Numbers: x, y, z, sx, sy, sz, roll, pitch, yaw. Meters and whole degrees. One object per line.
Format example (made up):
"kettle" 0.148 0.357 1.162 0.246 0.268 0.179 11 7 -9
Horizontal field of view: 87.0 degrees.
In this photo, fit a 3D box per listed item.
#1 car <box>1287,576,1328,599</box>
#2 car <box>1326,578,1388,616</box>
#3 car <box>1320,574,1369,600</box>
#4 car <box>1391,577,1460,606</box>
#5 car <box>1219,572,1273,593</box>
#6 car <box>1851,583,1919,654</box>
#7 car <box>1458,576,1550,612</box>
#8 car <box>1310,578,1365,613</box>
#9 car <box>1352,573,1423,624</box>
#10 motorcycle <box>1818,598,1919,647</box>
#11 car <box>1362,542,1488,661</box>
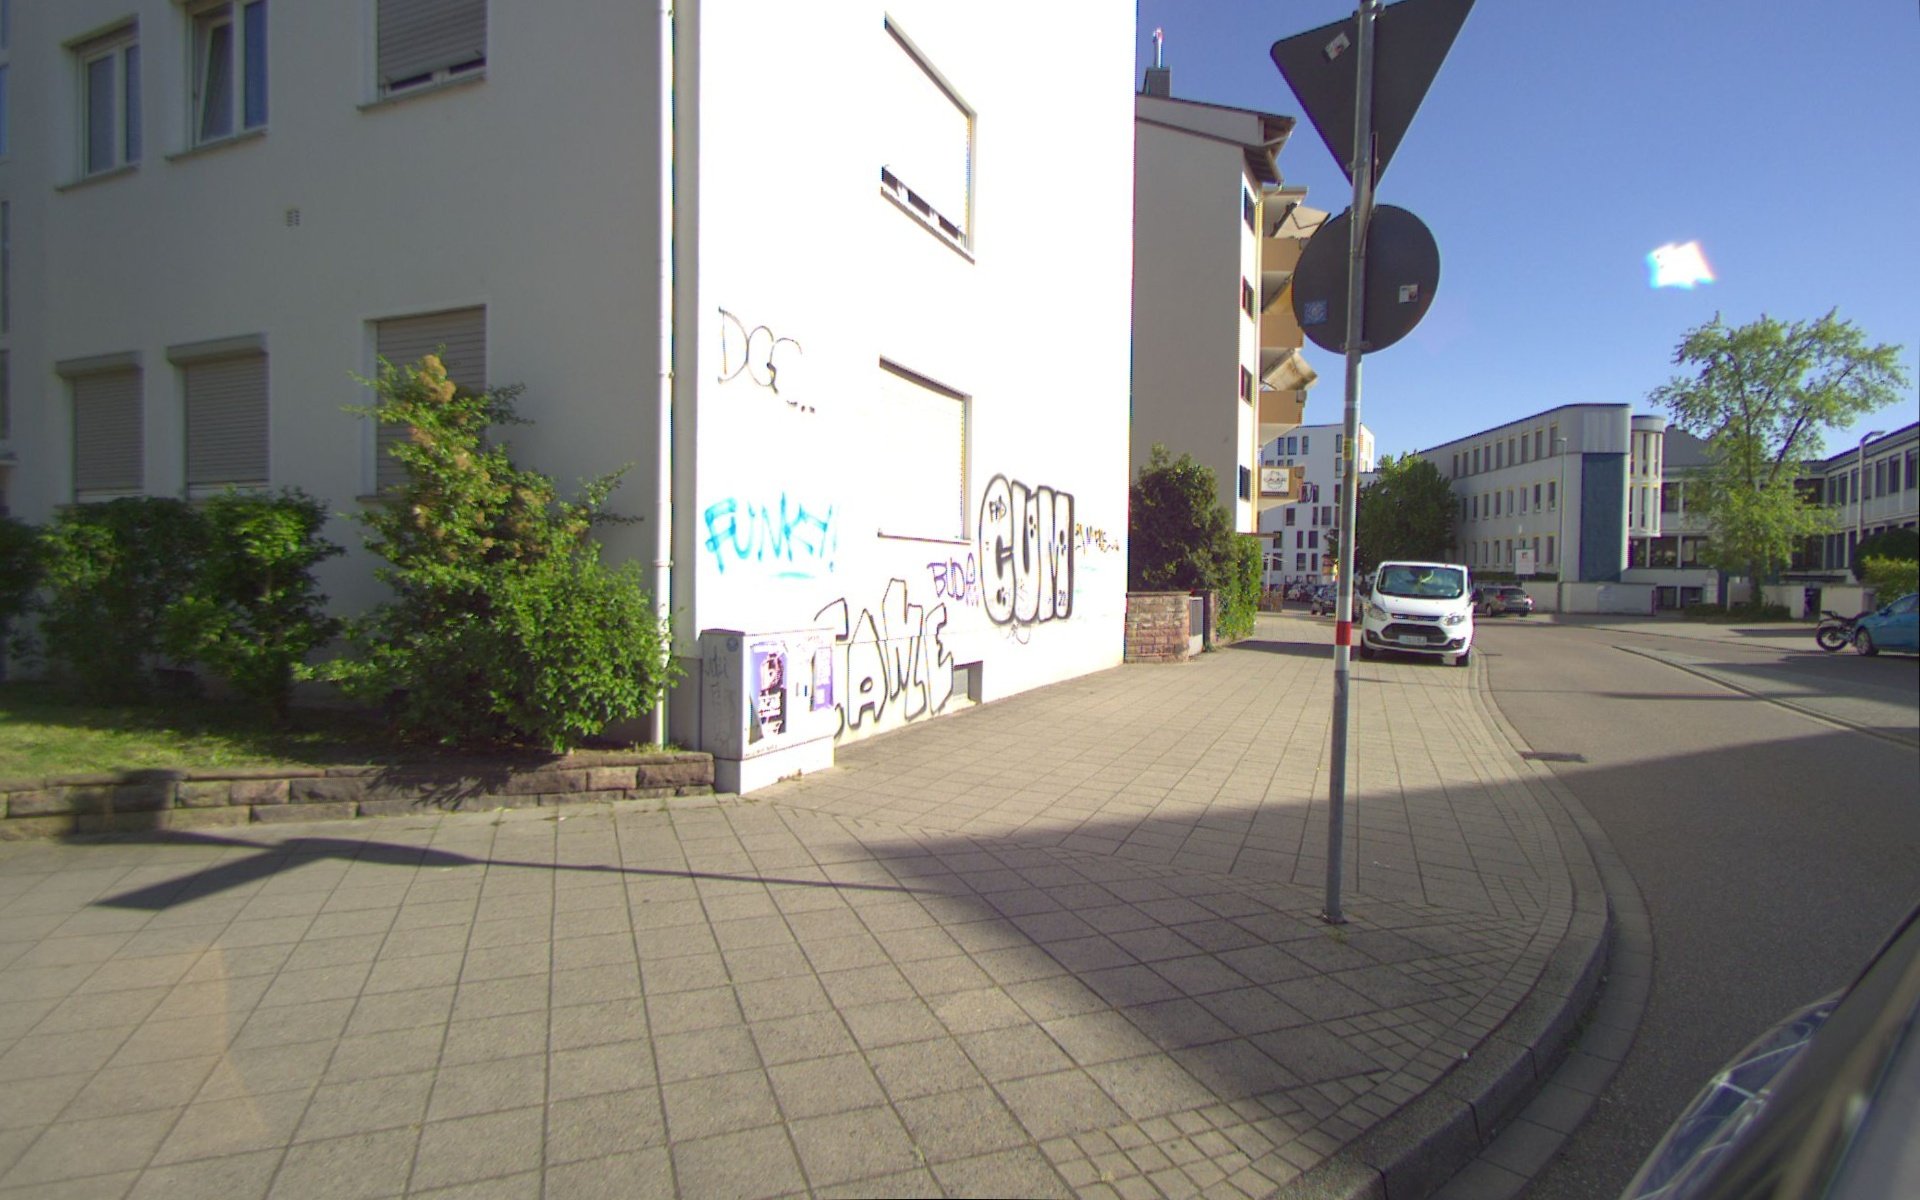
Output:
"car" 29.378 -1.106 85.733 2.101 1.833 4.831 -1 1 4
"car" 17.590 -0.168 45.019 1.731 1.471 3.988 5 2 11
"car" 28.713 -0.973 75.734 2.101 1.833 4.831 -1 1 4
"car" 27.349 -0.523 59.678 2.101 1.633 4.831 -1 1 4
"car" 25.155 -1.519 88.981 4.746 1.758 2.138 -2 1 -37
"car" 20.820 0.385 21.039 1.861 1.452 4.388 0 1 19
"car" 26.706 -0.351 49.860 2.100 1.633 4.833 -1 2 3
"car" 18.387 -0.267 49.443 1.731 1.471 3.989 4 2 10
"car" 16.020 -0.107 38.129 1.733 1.662 3.984 5 2 14
"motorcycle" 21.648 0.511 23.987 0.580 1.109 1.960 0 0 -42
"car" 9.535 -0.026 20.680 1.981 2.038 4.753 4 3 26
